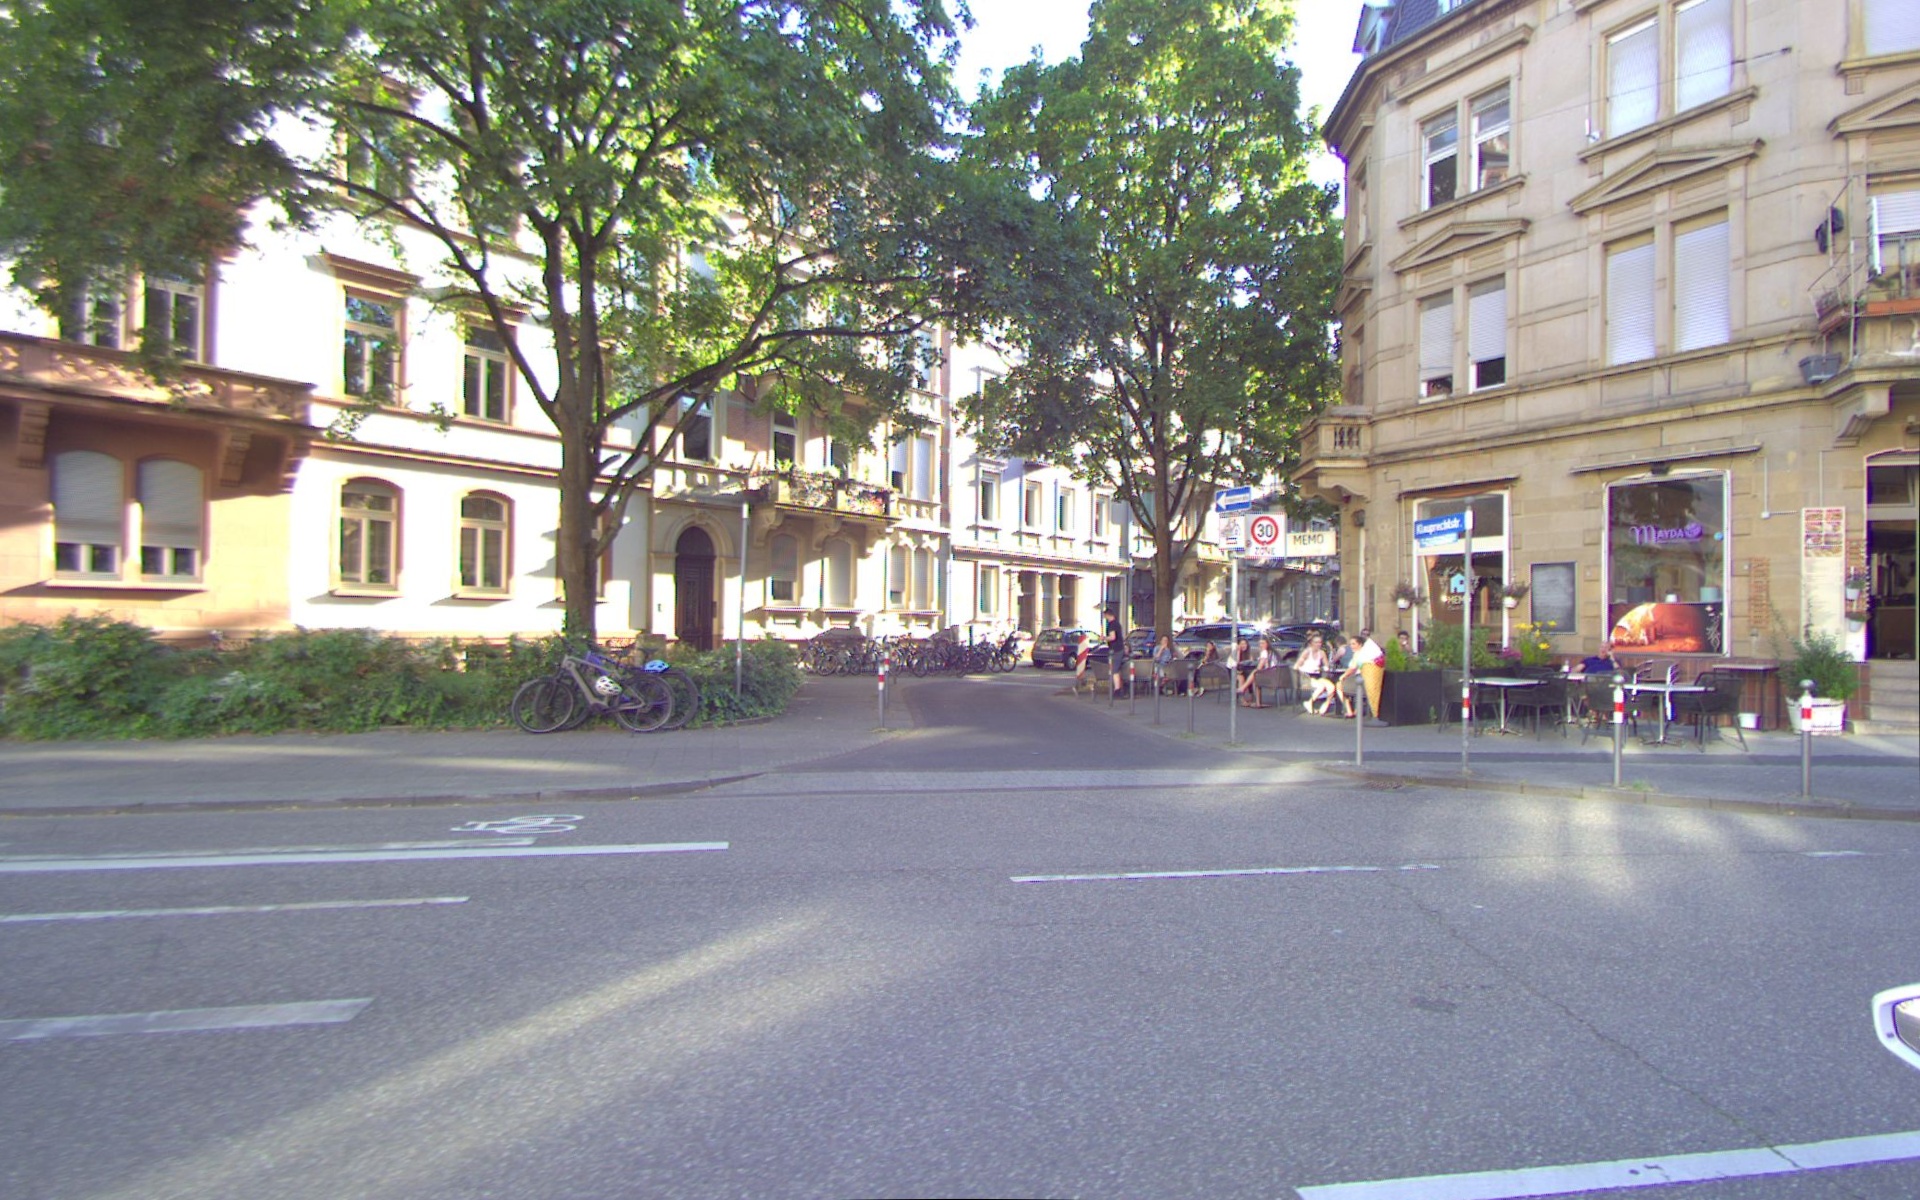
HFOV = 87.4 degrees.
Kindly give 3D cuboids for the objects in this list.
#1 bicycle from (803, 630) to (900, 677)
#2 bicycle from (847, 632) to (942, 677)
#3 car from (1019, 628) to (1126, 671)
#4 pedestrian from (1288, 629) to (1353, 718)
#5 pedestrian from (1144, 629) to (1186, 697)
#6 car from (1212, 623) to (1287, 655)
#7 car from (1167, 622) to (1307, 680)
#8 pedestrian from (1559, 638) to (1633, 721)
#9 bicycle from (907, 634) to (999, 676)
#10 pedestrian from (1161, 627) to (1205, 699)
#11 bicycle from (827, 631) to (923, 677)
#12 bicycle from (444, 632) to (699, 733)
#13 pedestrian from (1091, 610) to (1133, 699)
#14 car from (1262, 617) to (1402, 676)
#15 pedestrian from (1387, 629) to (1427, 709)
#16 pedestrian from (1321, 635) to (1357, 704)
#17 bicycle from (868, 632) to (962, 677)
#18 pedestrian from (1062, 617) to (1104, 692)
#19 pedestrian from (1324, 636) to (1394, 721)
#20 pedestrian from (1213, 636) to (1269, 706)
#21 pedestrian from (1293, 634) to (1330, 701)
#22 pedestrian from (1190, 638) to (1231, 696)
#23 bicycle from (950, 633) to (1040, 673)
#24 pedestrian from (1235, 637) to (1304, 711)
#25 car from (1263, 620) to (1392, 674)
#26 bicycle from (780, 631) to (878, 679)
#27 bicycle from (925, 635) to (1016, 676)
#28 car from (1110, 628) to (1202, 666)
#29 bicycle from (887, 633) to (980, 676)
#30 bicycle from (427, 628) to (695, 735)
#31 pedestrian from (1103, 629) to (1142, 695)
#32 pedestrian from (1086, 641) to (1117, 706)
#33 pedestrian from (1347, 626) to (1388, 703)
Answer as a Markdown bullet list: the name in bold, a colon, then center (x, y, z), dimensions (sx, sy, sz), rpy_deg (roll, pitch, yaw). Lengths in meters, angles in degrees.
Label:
- **bicycle**: center (-2.981, 1.436, 27.339), dimensions (3.091, 1.196, 0.748), rpy_deg (-1, -2, 42)
- **bicycle**: center (-1.886, 1.510, 28.546), dimensions (3.091, 1.196, 0.748), rpy_deg (-1, -2, 42)
- **car**: center (3.971, 1.690, 35.064), dimensions (1.901, 1.394, 3.732), rpy_deg (-1, -2, 42)
- **pedestrian**: center (6.028, 1.211, 16.812), dimensions (0.718, 1.429, 0.752), rpy_deg (1, -1, -26)
- **pedestrian**: center (4.501, 1.376, 22.090), dimensions (0.752, 1.460, 0.668), rpy_deg (0, -2, -2)
- **car**: center (13.273, 1.750, 45.936), dimensions (1.901, 1.394, 3.732), rpy_deg (-1, -2, 42)
- **car**: center (7.958, 1.438, 29.147), dimensions (3.758, 1.582, 1.804), rpy_deg (0, -1, 11)
- **pedestrian**: center (9.810, 1.210, 15.495), dimensions (0.749, 1.230, 0.721), rpy_deg (1, -2, -33)
- **bicycle**: center (-0.241, 1.640, 30.392), dimensions (3.091, 1.196, 0.748), rpy_deg (-1, -2, 42)
- **pedestrian**: center (4.665, 1.316, 21.071), dimensions (0.752, 1.460, 0.668), rpy_deg (0, -2, -2)
- **bicycle**: center (-2.411, 1.472, 27.962), dimensions (3.091, 1.196, 0.748), rpy_deg (-1, -2, 42)
- **bicycle**: center (-4.813, 1.015, 12.618), dimensions (2.905, 1.212, 0.547), rpy_deg (1, -1, -10)
- **pedestrian**: center (3.148, 1.123, 20.781), dimensions (0.752, 1.793, 0.572), rpy_deg (0, -2, -2)
- **car**: center (11.548, 1.412, 31.150), dimensions (3.925, 1.706, 1.998), rpy_deg (0, -2, 25)
- **pedestrian**: center (7.859, 1.204, 17.666), dimensions (0.427, 1.385, 0.479), rpy_deg (0, -1, -22)
- **pedestrian**: center (7.074, 1.284, 18.752), dimensions (0.427, 1.265, 0.480), rpy_deg (0, -1, -16)
- **bicycle**: center (-1.350, 1.554, 29.176), dimensions (3.091, 1.196, 0.748), rpy_deg (-1, -2, 42)
- **pedestrian**: center (2.823, 1.250, 23.106), dimensions (0.754, 1.691, 0.666), rpy_deg (0, -2, -16)
- **pedestrian**: center (6.370, 1.233, 16.053), dimensions (0.732, 1.306, 0.741), rpy_deg (1, -1, -24)
- **pedestrian**: center (5.265, 1.324, 18.832), dimensions (0.737, 1.265, 0.704), rpy_deg (0, -1, -16)
- **pedestrian**: center (6.838, 1.307, 19.547), dimensions (0.502, 1.265, 0.480), rpy_deg (0, -1, -16)
- **pedestrian**: center (5.373, 1.431, 21.581), dimensions (0.664, 1.231, 0.668), rpy_deg (0, -2, -3)
- **bicycle**: center (1.088, 1.655, 31.859), dimensions (3.091, 1.196, 0.748), rpy_deg (-1, -2, 42)
- **pedestrian**: center (5.525, 1.295, 17.964), dimensions (0.737, 1.265, 1.021), rpy_deg (0, -1, -17)
- **car**: center (12.260, 1.562, 33.768), dimensions (3.919, 1.706, 2.001), rpy_deg (0, -1, 16)
- **bicycle**: center (-3.519, 1.427, 26.691), dimensions (3.091, 1.196, 0.748), rpy_deg (-1, -2, 42)
- **bicycle**: center (0.305, 1.684, 31.032), dimensions (3.091, 1.196, 0.748), rpy_deg (-1, -2, 42)
- **car**: center (7.611, 1.795, 38.806), dimensions (1.901, 1.394, 3.732), rpy_deg (-1, -2, 42)
- **bicycle**: center (-0.830, 1.596, 29.794), dimensions (3.091, 1.196, 0.748), rpy_deg (-1, -2, 42)
- **bicycle**: center (-4.712, 0.960, 12.033), dimensions (2.905, 1.212, 0.547), rpy_deg (1, -1, -10)
- **pedestrian**: center (3.585, 1.368, 22.199), dimensions (0.752, 1.430, 0.668), rpy_deg (0, -2, 0)
- **pedestrian**: center (3.005, 1.553, 21.363), dimensions (0.561, 1.338, 0.505), rpy_deg (0, -1, -3)
- **pedestrian**: center (7.861, 1.233, 19.382), dimensions (0.475, 1.450, 0.566), rpy_deg (0, -1, -25)
